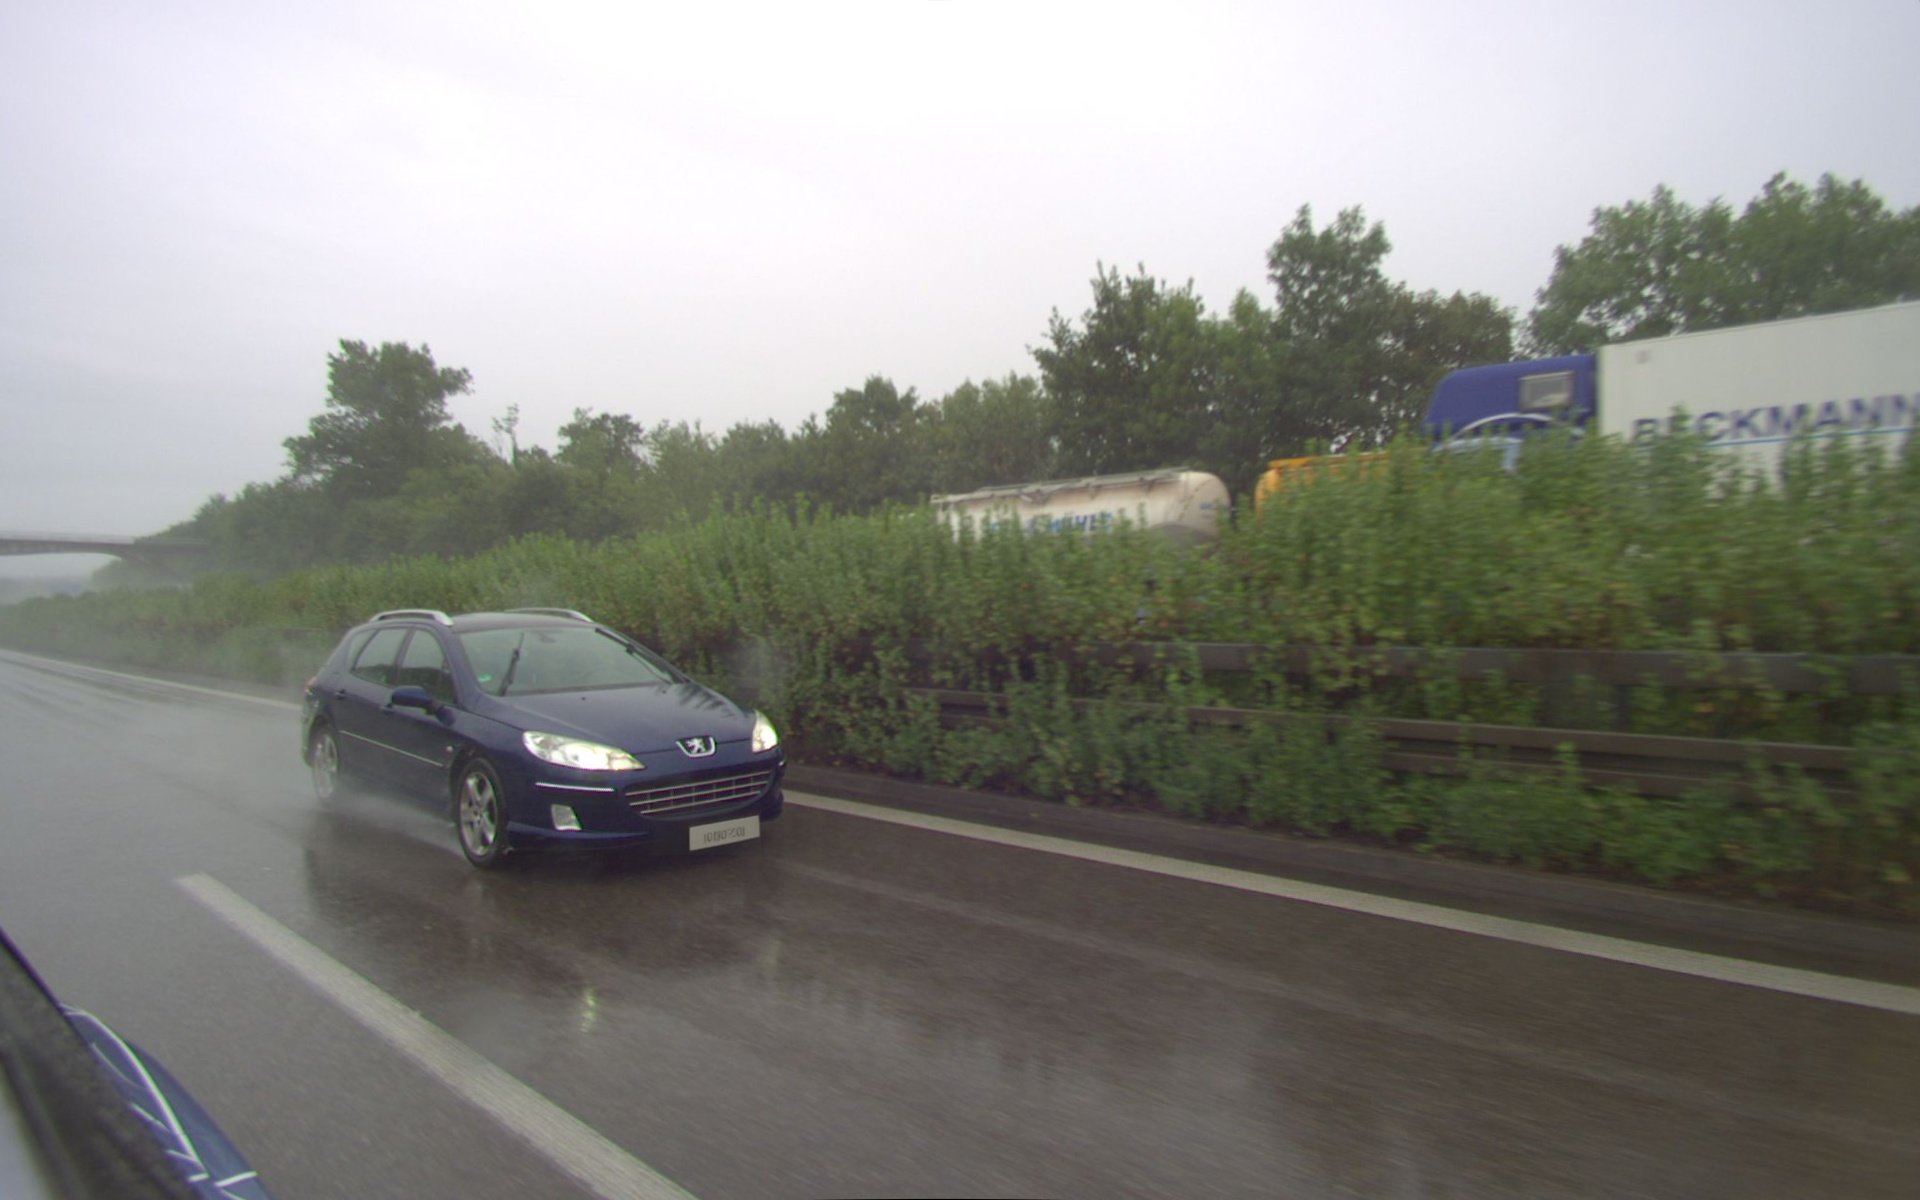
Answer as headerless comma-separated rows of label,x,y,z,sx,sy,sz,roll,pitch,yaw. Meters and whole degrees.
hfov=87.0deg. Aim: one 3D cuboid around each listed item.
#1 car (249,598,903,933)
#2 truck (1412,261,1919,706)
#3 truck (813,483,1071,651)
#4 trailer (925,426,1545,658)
car,-2.957,0.774,7.023,5.154,1.496,2.033,-1,0,41
truck,11.050,-1.224,12.296,9.404,4.674,3.796,-1,-1,42
truck,-0.611,-0.762,27.496,6.621,4.022,3.118,-1,0,41
trailer,5.159,-0.910,22.514,13.248,3.906,3.165,-1,0,41
